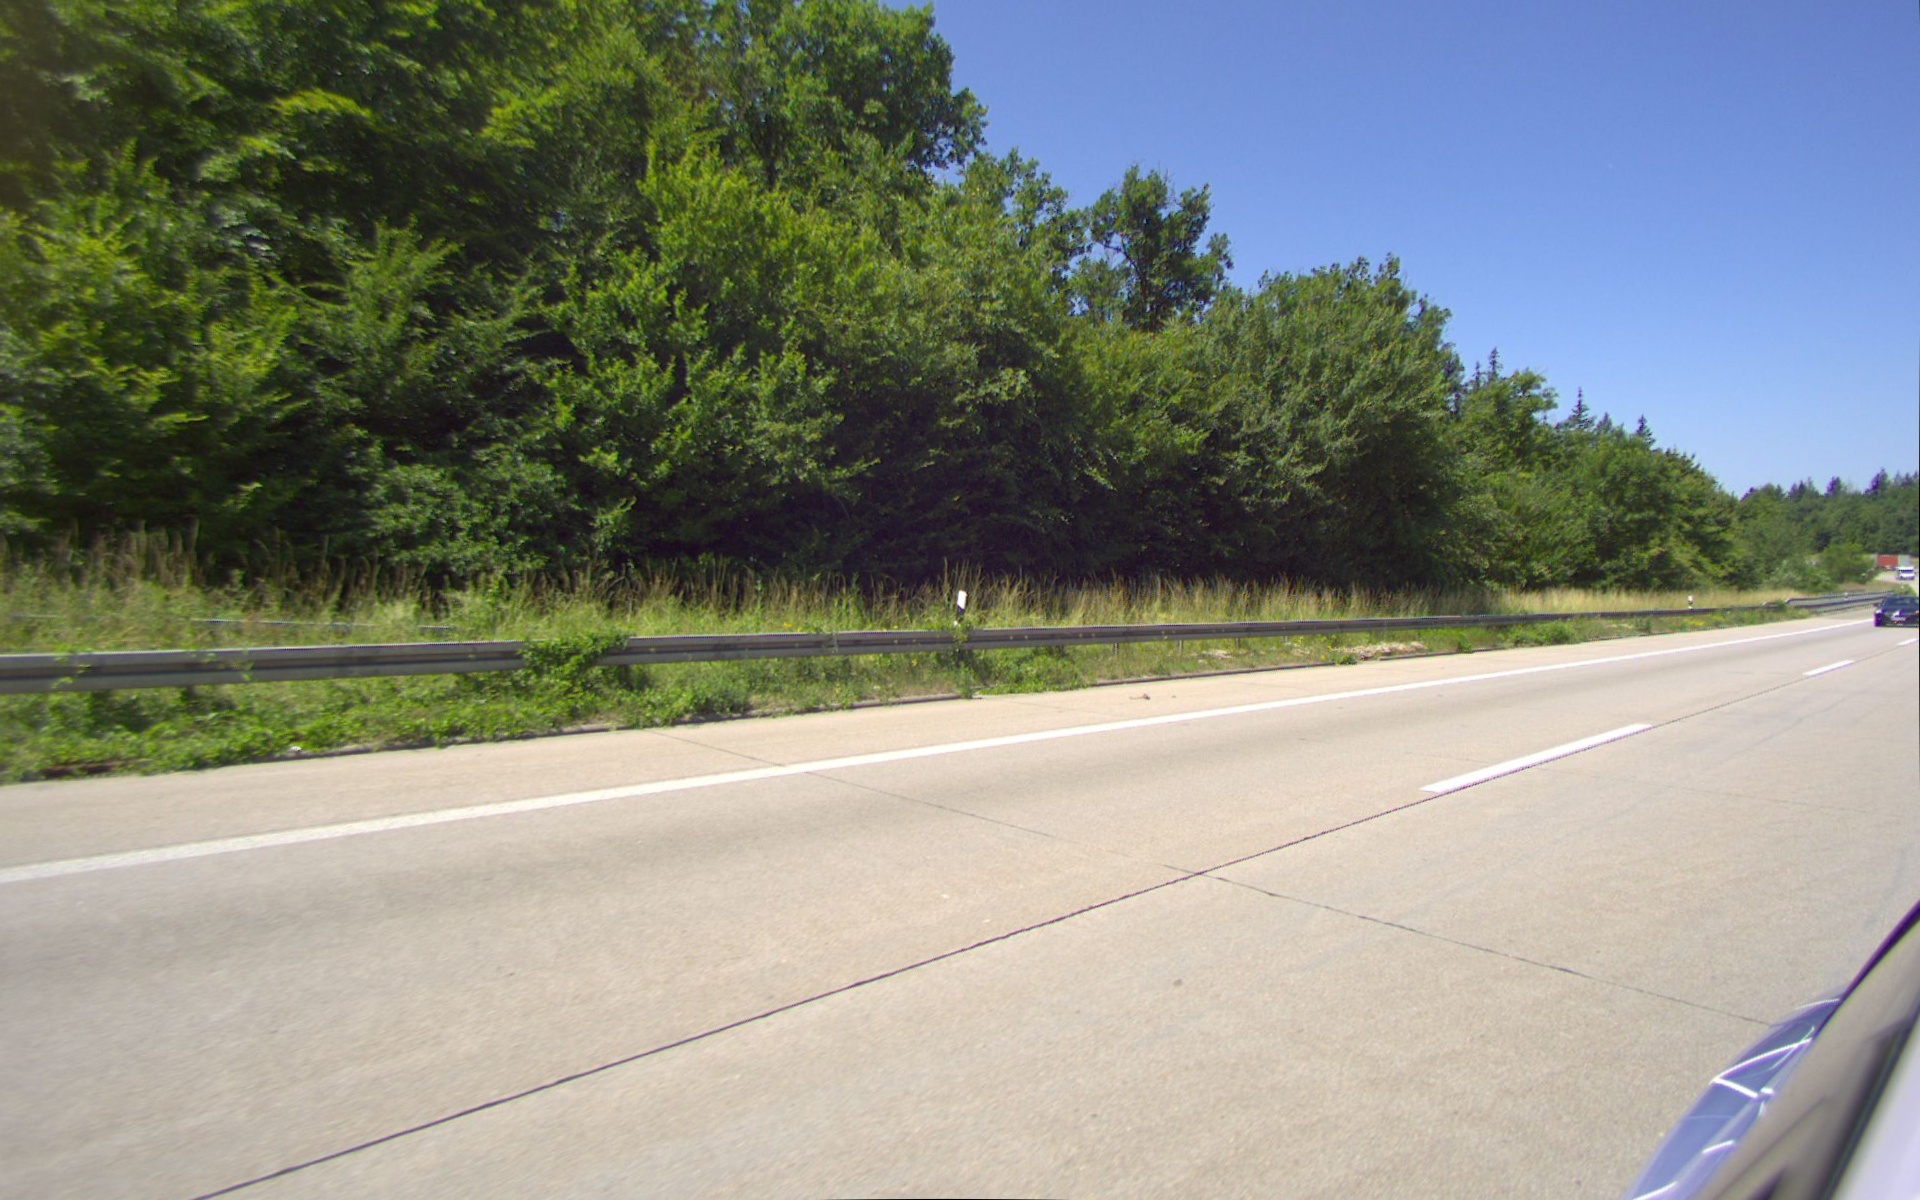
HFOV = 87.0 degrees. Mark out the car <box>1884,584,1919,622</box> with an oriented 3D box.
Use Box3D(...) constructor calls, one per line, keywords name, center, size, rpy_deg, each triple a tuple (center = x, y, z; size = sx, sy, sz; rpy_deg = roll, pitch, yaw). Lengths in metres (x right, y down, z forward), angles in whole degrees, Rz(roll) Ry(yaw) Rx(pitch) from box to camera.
Box3D(name="car", center=(45.215, 0.125, 47.722), size=(4.323, 1.725, 1.929), rpy_deg=(-1, 1, -41))
